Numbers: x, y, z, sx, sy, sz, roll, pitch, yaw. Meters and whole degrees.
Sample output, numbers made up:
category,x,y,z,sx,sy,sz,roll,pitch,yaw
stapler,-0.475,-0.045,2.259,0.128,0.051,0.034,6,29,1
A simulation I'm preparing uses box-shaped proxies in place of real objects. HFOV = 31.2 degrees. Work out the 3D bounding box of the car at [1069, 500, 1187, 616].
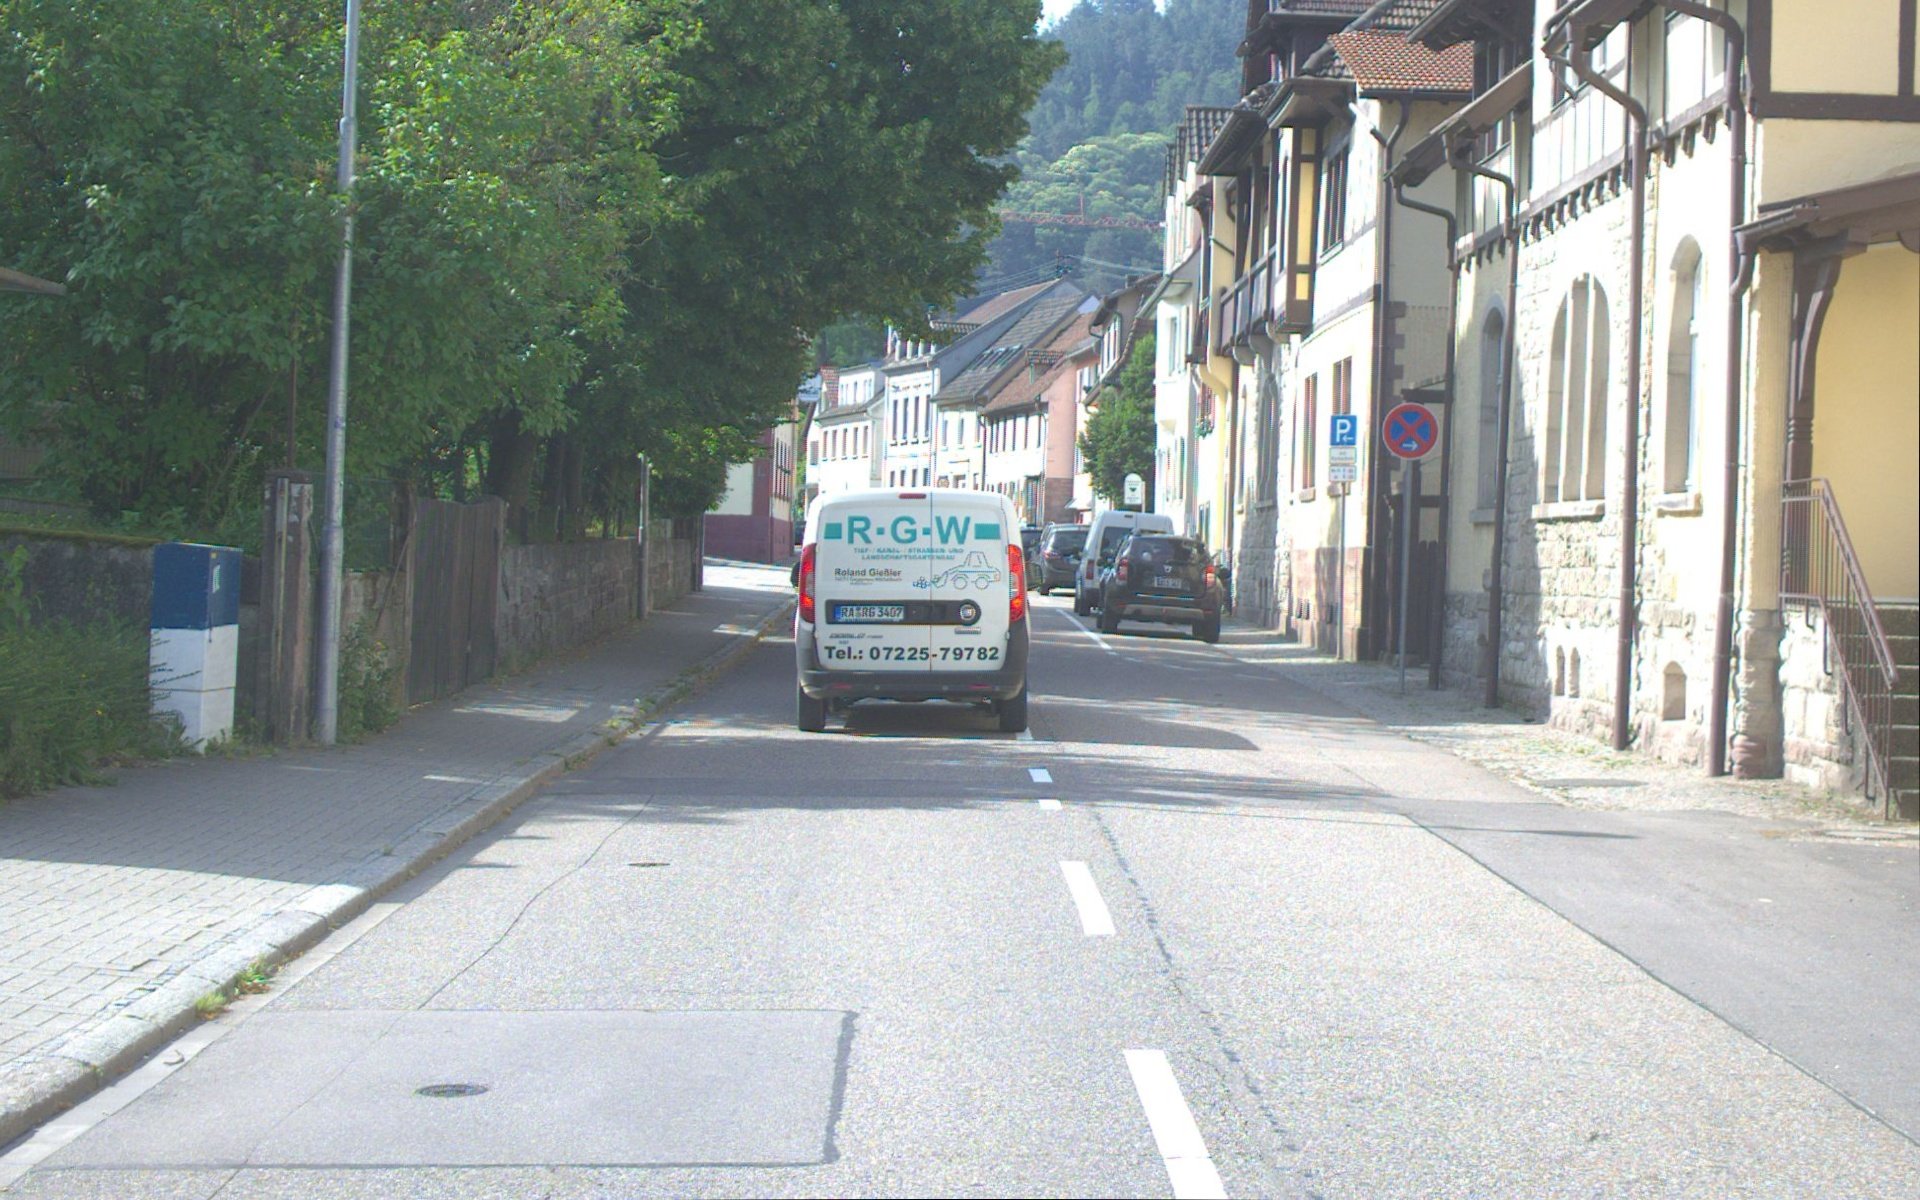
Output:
category,x,y,z,sx,sy,sz,roll,pitch,yaw
car,3.109,-0.810,64.315,1.871,2.007,4.000,3,1,-1

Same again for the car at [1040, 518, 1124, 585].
category,x,y,z,sx,sy,sz,roll,pitch,yaw
car,2.843,-1.155,80.756,1.669,1.503,4.001,1,1,-2

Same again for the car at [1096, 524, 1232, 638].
category,x,y,z,sx,sy,sz,roll,pitch,yaw
car,3.179,-0.331,54.185,1.810,1.591,3.927,4,2,0

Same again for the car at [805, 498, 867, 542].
category,x,y,z,sx,sy,sz,roll,pitch,yaw
car,-5.685,-3.666,157.118,1.993,1.776,4.002,4,2,-13

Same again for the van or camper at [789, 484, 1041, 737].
category,x,y,z,sx,sy,sz,roll,pitch,yaw
van or camper,-0.381,0.034,27.404,1.828,1.838,4.189,1,1,-1
